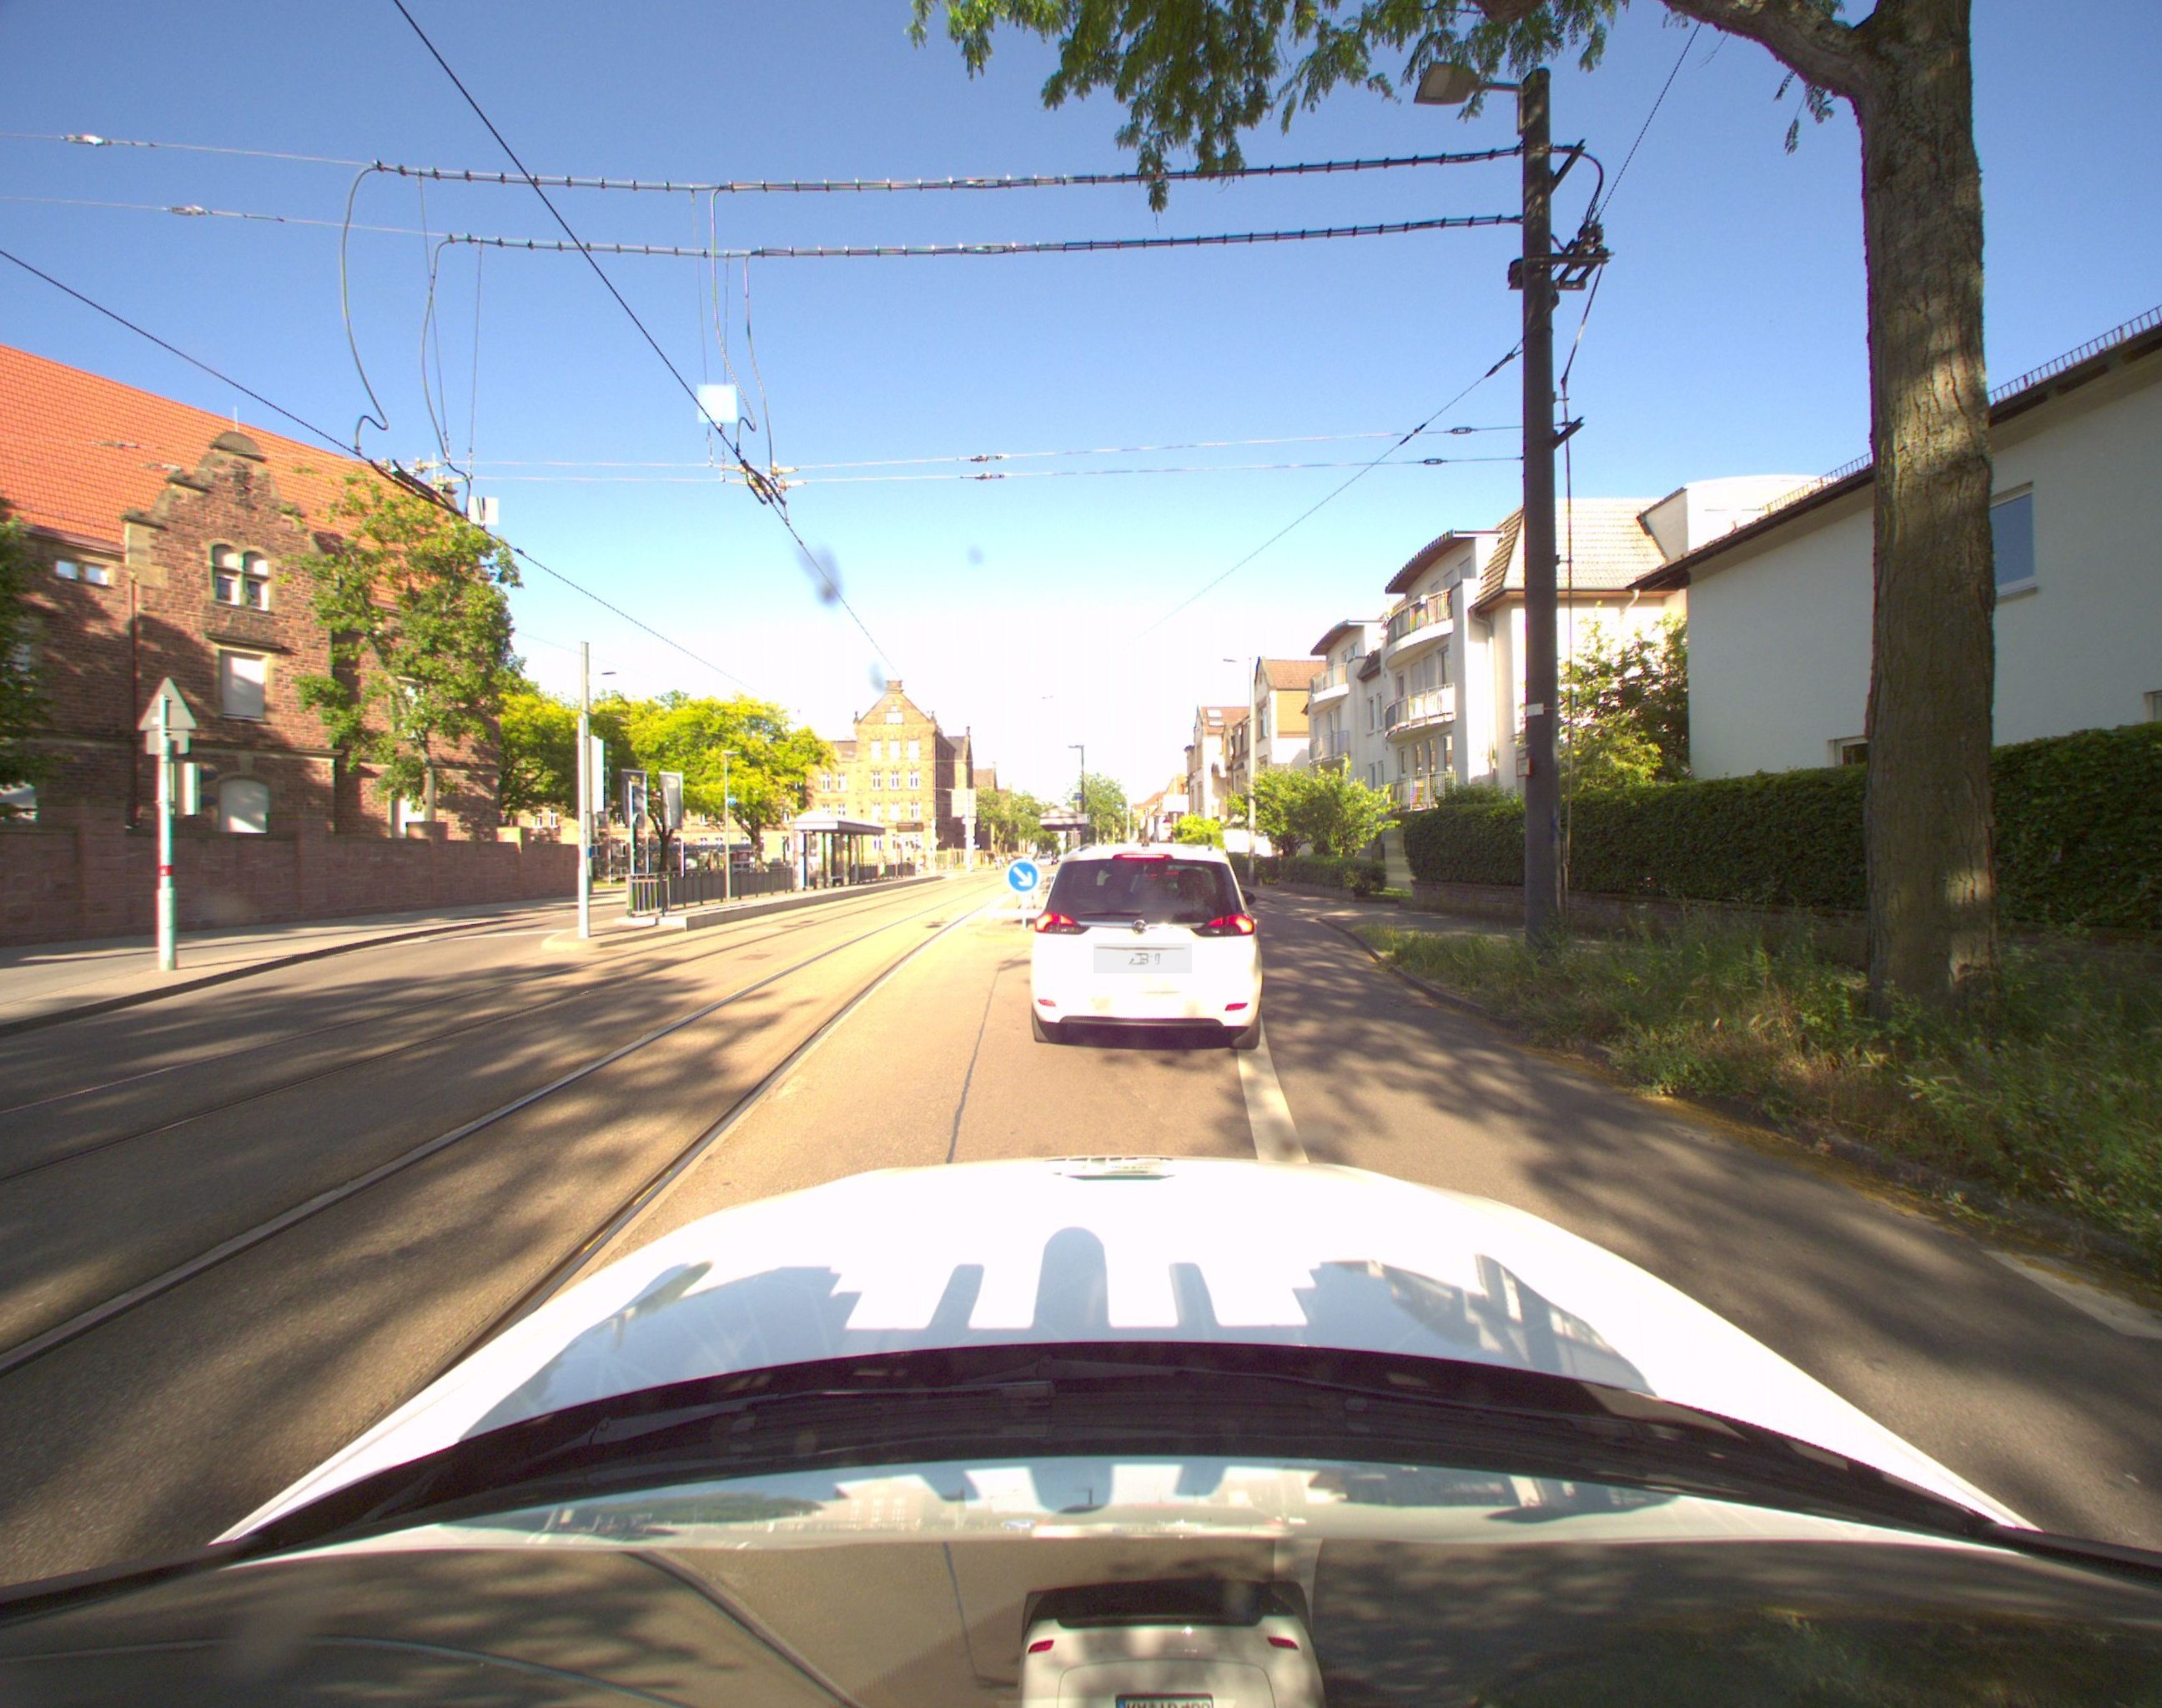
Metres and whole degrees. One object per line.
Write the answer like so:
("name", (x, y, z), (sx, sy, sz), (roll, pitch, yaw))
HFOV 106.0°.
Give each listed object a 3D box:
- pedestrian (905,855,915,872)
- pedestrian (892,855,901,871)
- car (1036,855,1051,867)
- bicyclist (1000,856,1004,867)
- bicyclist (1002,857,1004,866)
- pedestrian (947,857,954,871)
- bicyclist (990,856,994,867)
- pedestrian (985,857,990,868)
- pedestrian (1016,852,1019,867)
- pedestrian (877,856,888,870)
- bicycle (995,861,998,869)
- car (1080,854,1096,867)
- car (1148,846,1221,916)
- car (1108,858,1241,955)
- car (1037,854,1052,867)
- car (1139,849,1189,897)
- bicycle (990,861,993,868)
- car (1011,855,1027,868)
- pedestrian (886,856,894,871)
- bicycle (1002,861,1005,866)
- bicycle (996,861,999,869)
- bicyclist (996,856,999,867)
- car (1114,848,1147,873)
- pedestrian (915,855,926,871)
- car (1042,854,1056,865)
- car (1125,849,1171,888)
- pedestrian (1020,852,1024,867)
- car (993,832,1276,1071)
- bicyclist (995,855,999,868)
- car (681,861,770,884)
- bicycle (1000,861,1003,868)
("pedestrian", (-17.748, 0.964, 84.564), (0.839, 1.691, 1.029), (0, -1, 1))
("pedestrian", (-19.234, 0.949, 84.885), (0.799, 1.588, 0.934), (0, -1, 0))
("car", (-5.290, 0.958, 114.749), (1.989, 1.629, 3.996), (-1, 0, -3))
("bicyclist", (-10.656, 1.002, 109.608), (0.443, 1.553, 0.495), (-1, 0, -2))
("bicyclist", (-11.375, 1.057, 118.975), (0.343, 1.320, 0.404), (0, -1, -2))
("pedestrian", (-15.556, 1.212, 97.332), (0.732, 1.714, 0.707), (0, -1, 1))
("bicyclist", (-12.678, 1.064, 115.607), (0.443, 1.553, 0.495), (-1, 0, -2))
("pedestrian", (-15.273, 1.365, 133.513), (0.733, 1.714, 0.753), (0, -1, -4))
("pedestrian", (-8.763, 0.780, 112.365), (0.443, 2.013, 0.495), (-1, 0, -2))
("pedestrian", (-21.741, 1.003, 89.133), (0.923, 1.588, 0.809), (-1, -1, 24))
("bicycle", (-10.709, 1.420, 103.528), (0.343, 0.950, 1.160), (0, -1, -1))
("car", (0.880, 0.825, 106.613), (1.988, 1.629, 3.998), (-1, 0, -1))
("car", (2.574, 0.638, 20.898), (1.630, 1.601, 3.859), (-1, 0, 4))
("car", (1.532, 0.791, 14.069), (1.944, 1.397, 4.005), (-1, 0, 4))
("car", (-4.809, 0.897, 107.626), (1.989, 1.629, 3.996), (-1, 0, -3))
("car", (2.945, 0.635, 29.324), (1.630, 1.601, 3.859), (-1, 0, 4))
("bicycle", (-12.671, 1.532, 115.641), (0.343, 0.950, 0.996), (0, -1, -1))
("car", (-8.186, 0.929, 107.485), (1.989, 1.629, 3.996), (-1, 0, -3))
("pedestrian", (-21.036, 1.070, 89.646), (0.805, 1.588, 0.928), (0, -1, -20))
("bicycle", (-11.370, 1.454, 118.975), (0.343, 0.725, 0.996), (0, -1, -1))
("bicycle", (-10.997, 1.451, 107.070), (0.343, 0.950, 0.996), (0, -1, -1))
("bicyclist", (-10.973, 0.983, 107.029), (0.443, 1.553, 0.495), (-1, 0, -2))
("car", (3.104, 0.386, 51.847), (1.986, 1.503, 4.002), (-1, 0, 2))
("pedestrian", (-16.480, 0.943, 83.889), (0.892, 1.684, 1.029), (0, -1, 1))
("car", (-5.123, 0.914, 130.996), (1.987, 1.629, 4.000), (-1, 0, 0))
("car", (2.932, 0.611, 36.254), (1.824, 1.579, 4.012), (-1, 0, 2))
("pedestrian", (-8.144, 0.778, 112.655), (0.443, 2.013, 0.495), (-1, 0, -2))
("car", (0.644, 0.684, 7.708), (1.982, 1.644, 4.003), (0, 0, 8))
("bicyclist", (-10.701, 0.953, 103.739), (0.443, 1.553, 0.742), (-1, 0, -2))
("car", (-32.956, 1.704, 75.706), (6.926, 1.921, 2.992), (-1, 0, 0))
("bicycle", (-10.655, 1.469, 109.613), (0.343, 0.950, 0.996), (0, -1, -1))
